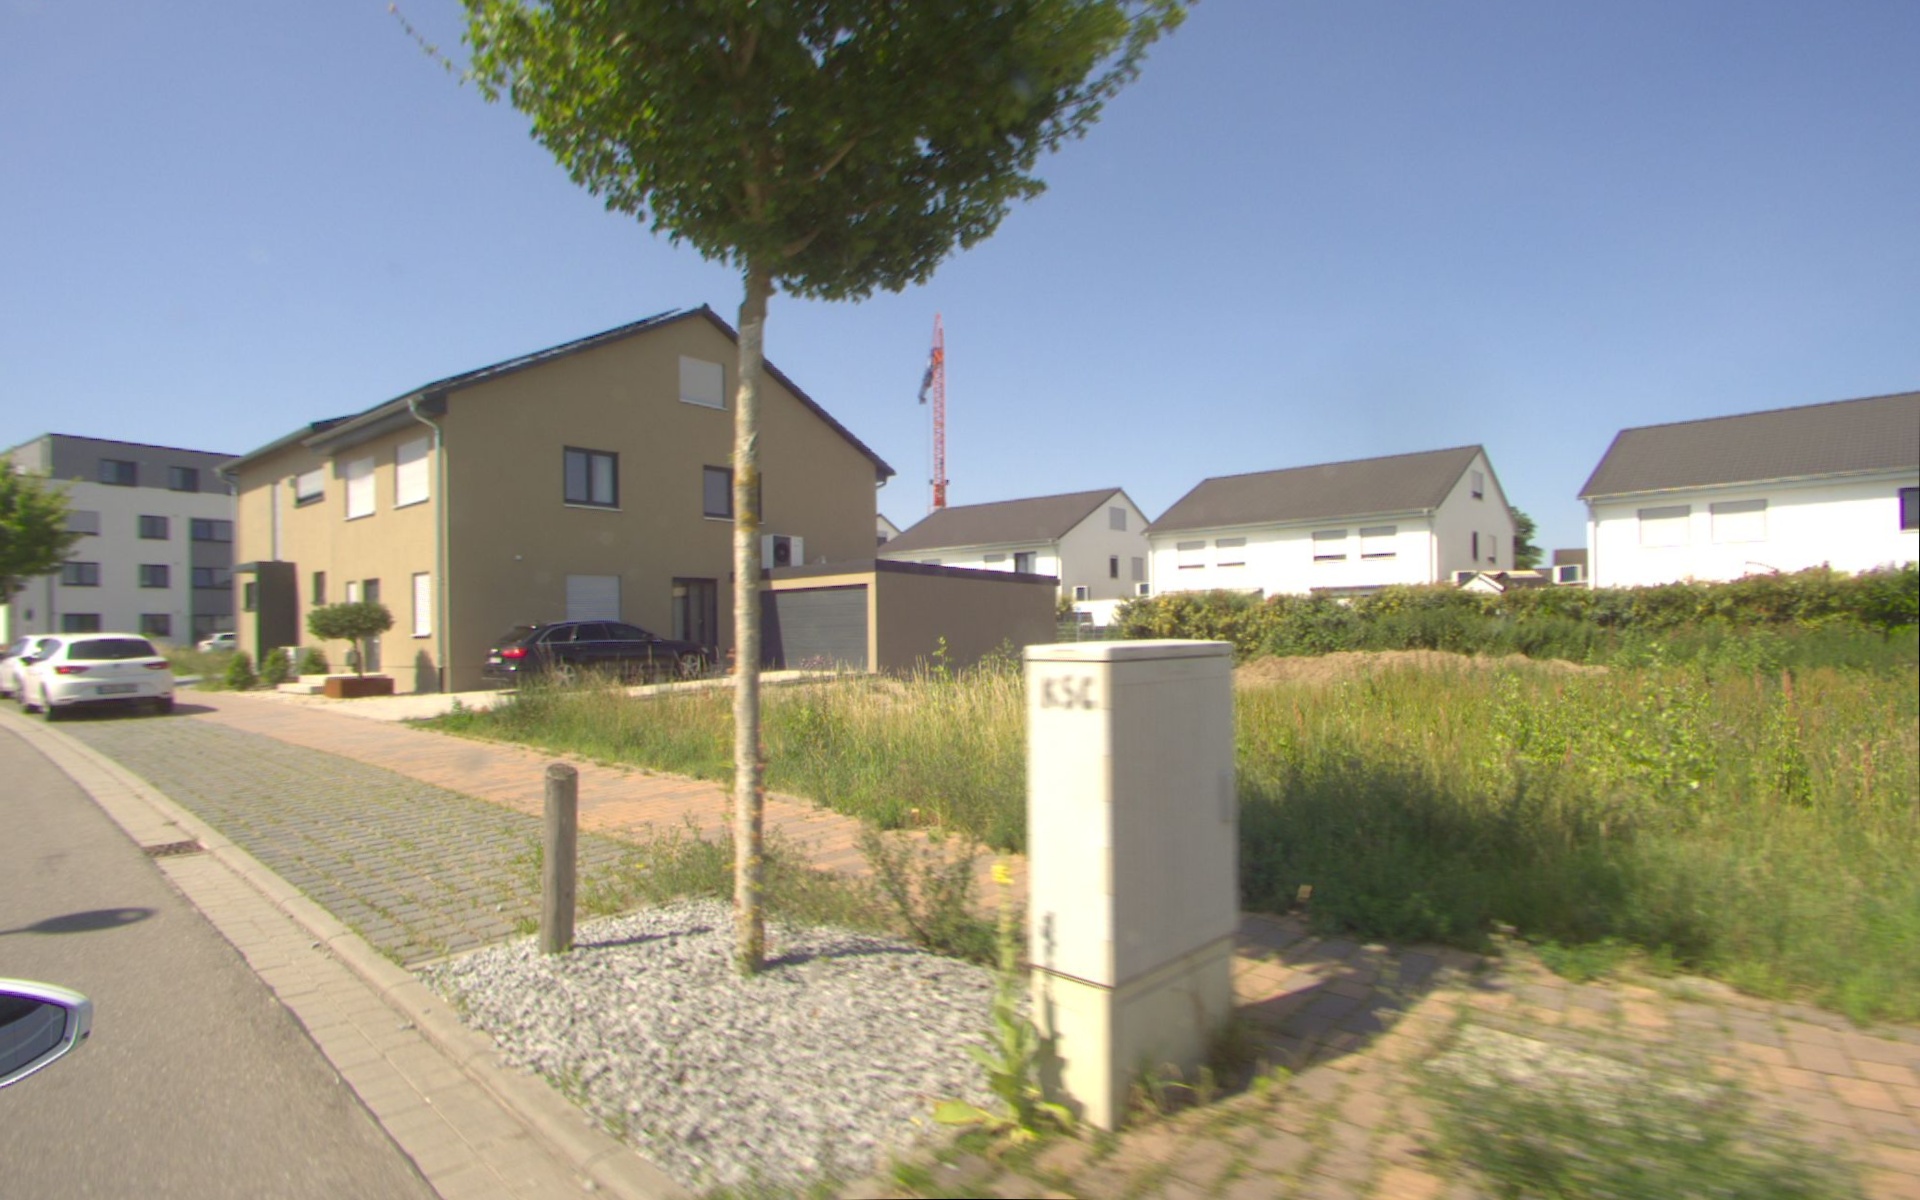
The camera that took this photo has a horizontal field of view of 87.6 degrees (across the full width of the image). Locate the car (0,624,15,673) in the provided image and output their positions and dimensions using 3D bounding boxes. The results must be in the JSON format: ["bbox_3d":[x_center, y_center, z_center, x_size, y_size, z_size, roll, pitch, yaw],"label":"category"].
[{"bbox_3d":[-32.872,1.582,32.803,5.226,1.531,1.911,-1,0,37],"label":"car"}]

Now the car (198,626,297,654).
[{"bbox_3d":[-39.486,2.227,55.569,1.858,1.454,4.147,-2,-2,35],"label":"car"}]

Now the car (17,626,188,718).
[{"bbox_3d":[-16.053,1.253,18.666,4.513,1.475,1.805,-2,0,41],"label":"car"}]

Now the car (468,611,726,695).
[{"bbox_3d":[-7.692,1.061,21.615,1.978,1.445,4.859,-1,1,42],"label":"car"}]

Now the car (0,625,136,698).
[{"bbox_3d":[-20.589,1.337,22.986,4.460,1.445,1.771,-1,0,40],"label":"car"}]
